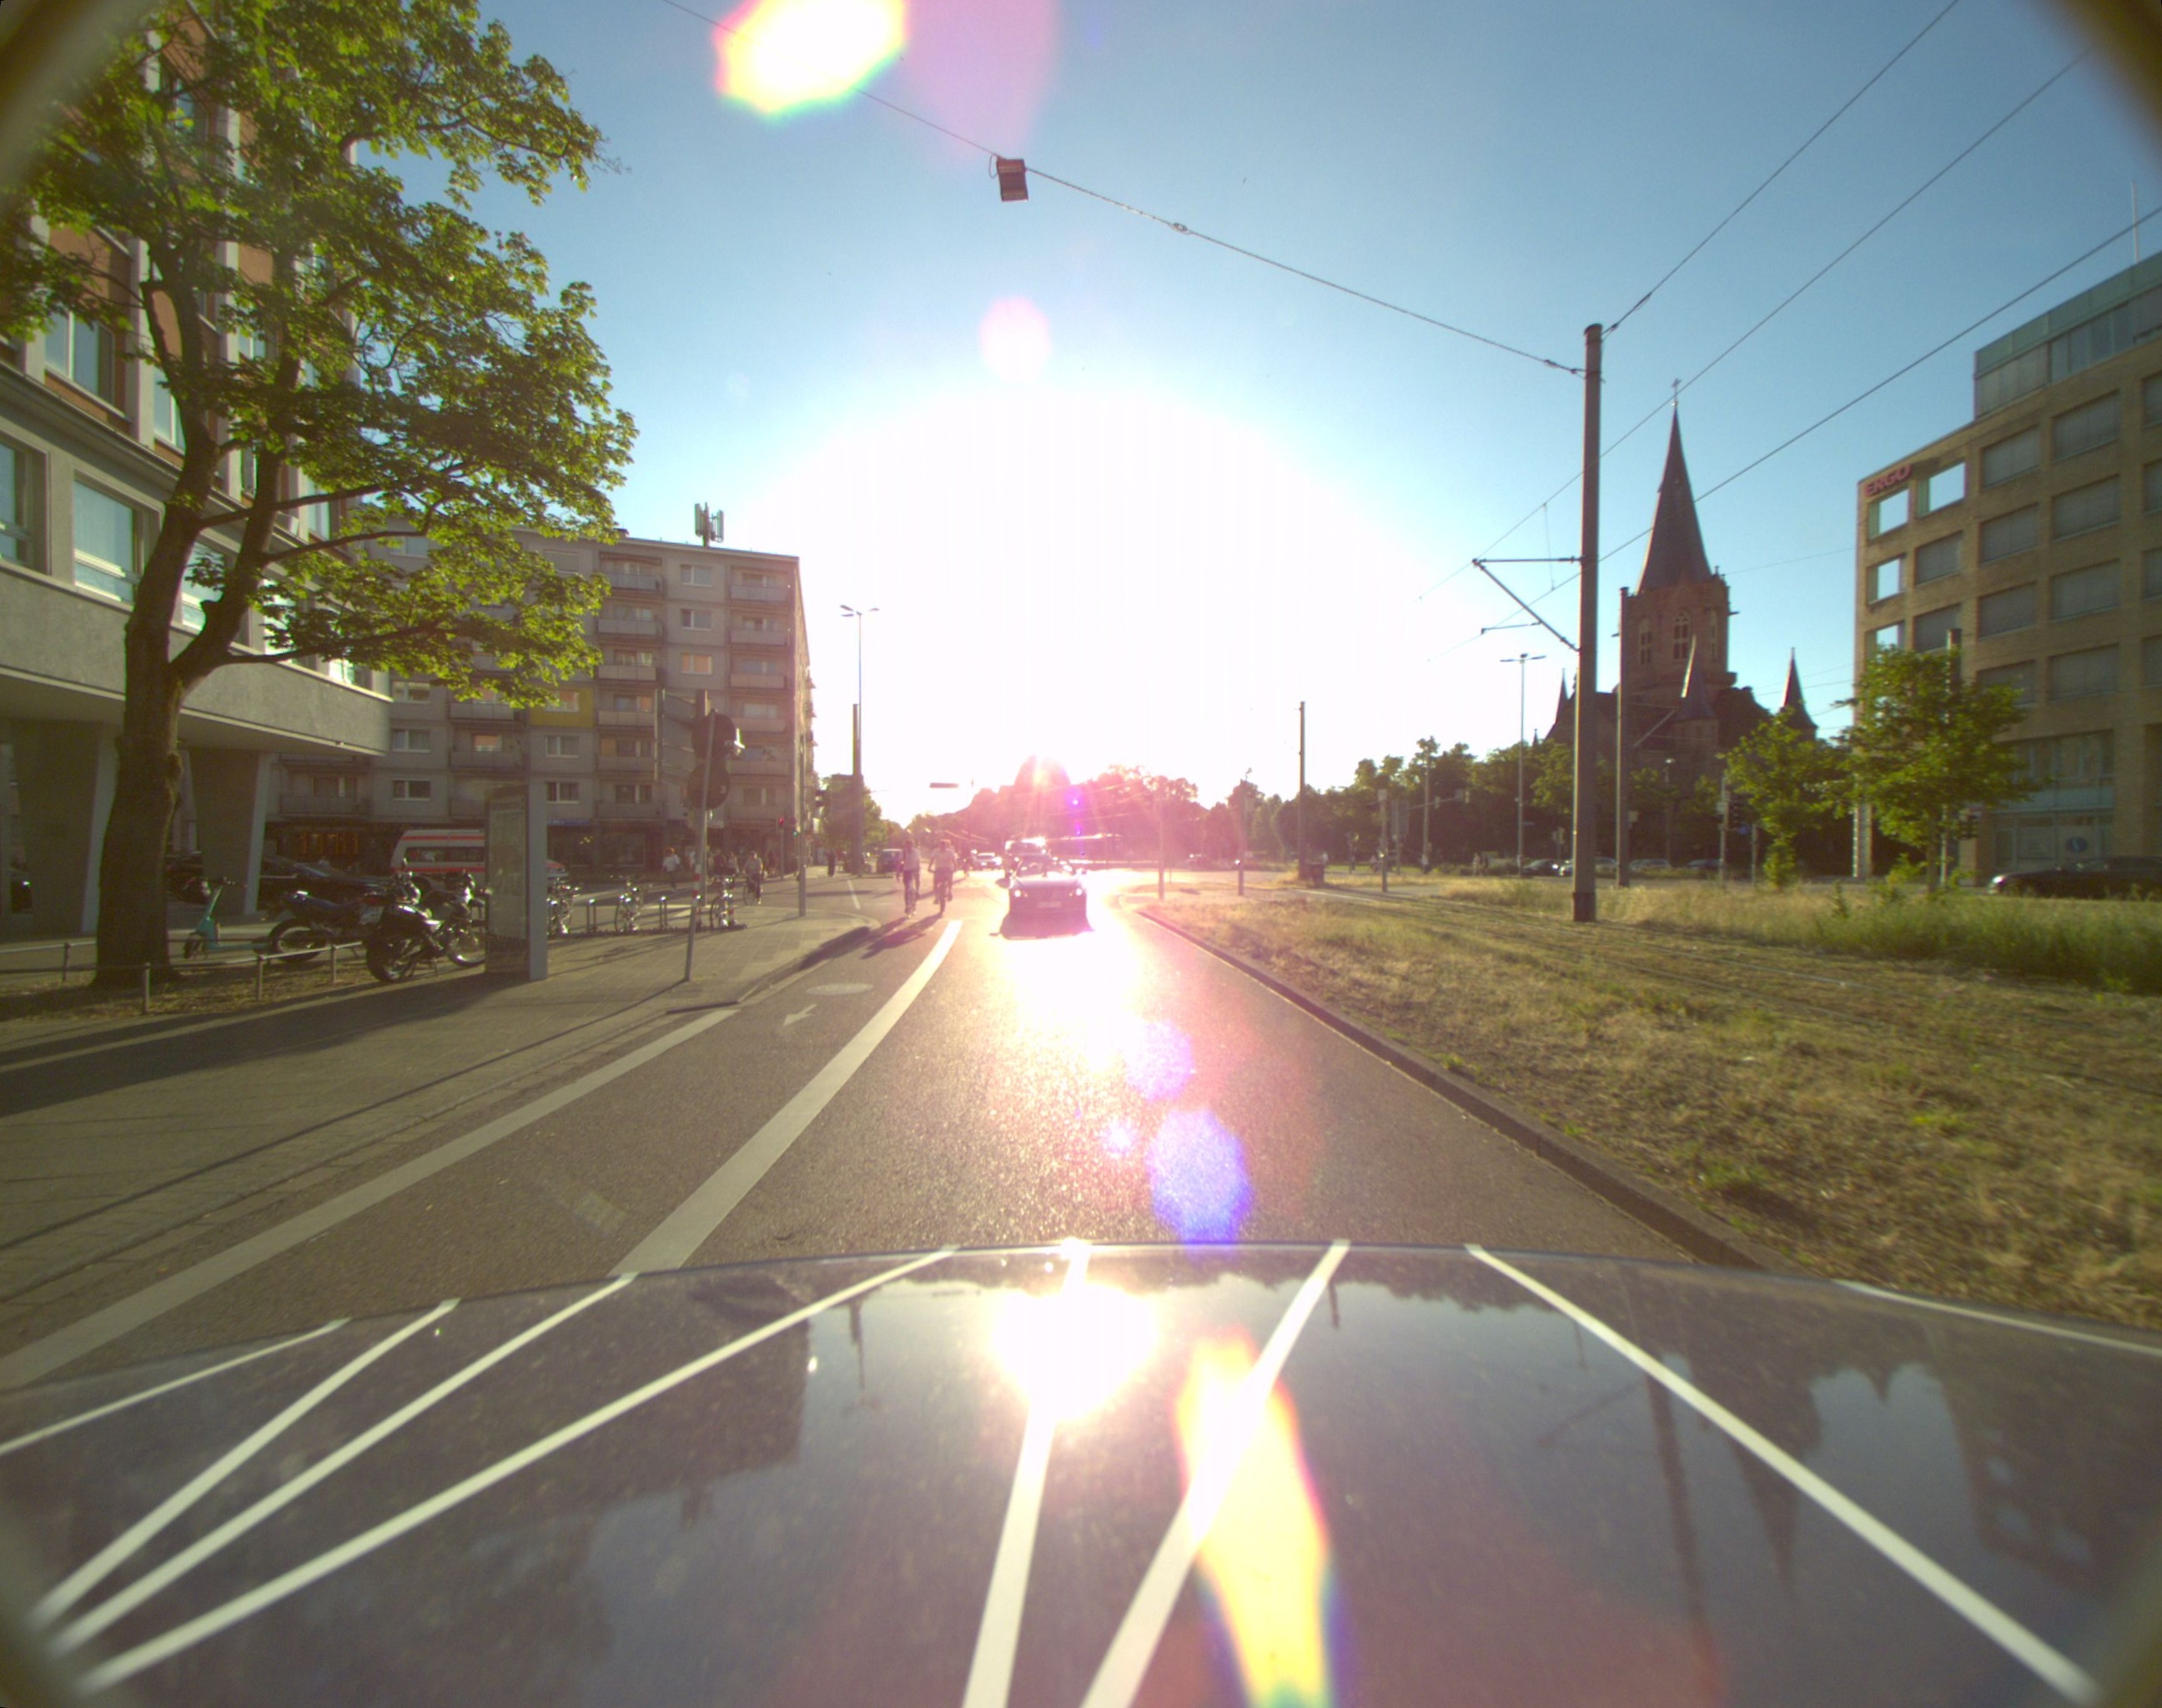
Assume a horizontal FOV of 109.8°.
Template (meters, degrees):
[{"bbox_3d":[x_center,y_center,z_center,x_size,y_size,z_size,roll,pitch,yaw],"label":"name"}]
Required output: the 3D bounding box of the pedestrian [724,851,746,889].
[{"bbox_3d":[-13.787,0.626,30.271,0.684,1.491,0.745,-1,1,-17],"label":"pedestrian"}]

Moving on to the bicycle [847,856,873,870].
[{"bbox_3d":[-16.658,0.674,57.296,1.875,1.055,0.606,0,1,-21],"label":"bicycle"}]

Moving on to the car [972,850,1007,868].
[{"bbox_3d":[-7.974,0.394,65.922,1.845,1.393,4.575,-3,1,-21],"label":"car"}]

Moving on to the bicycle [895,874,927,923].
[{"bbox_3d":[-4.074,1.043,18.293,0.577,1.022,1.855,-2,1,-9],"label":"bicycle"}]

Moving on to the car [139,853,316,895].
[{"bbox_3d":[-31.556,0.714,28.237,4.003,1.455,1.785,0,1,-17],"label":"car"}]

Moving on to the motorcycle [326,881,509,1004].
[{"bbox_3d":[-7.994,0.991,9.310,0.668,1.235,2.198,-1,0,-12],"label":"motorcycle"}]

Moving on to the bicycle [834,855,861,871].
[{"bbox_3d":[-17.941,0.709,58.342,1.876,1.119,0.606,2,0,-22],"label":"bicycle"}]

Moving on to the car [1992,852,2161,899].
[{"bbox_3d":[30.519,0.600,22.751,1.732,1.275,3.782,-1,1,-18],"label":"car"}]

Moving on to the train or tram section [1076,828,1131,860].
[{"bbox_3d":[2.480,-1.136,87.925,2.784,3.515,10.552,-1,1,-19],"label":"train or tram section"}]

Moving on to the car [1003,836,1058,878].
[{"bbox_3d":[-2.610,0.123,37.983,1.922,1.978,4.940,-1,1,-13],"label":"car"}]

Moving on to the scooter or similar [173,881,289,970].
[{"bbox_3d":[-13.014,1.060,11.673,0.416,1.247,1.183,0,1,1],"label":"scooter or similar"}]

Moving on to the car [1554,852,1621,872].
[{"bbox_3d":[36.993,0.595,55.499,4.002,1.412,1.900,0,1,-15],"label":"car"}]

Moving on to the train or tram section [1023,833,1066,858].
[{"bbox_3d":[-5.529,-1.195,111.260,2.784,3.515,13.229,-1,1,-19],"label":"train or tram section"}]

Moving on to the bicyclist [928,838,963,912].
[{"bbox_3d":[-3.380,0.496,19.019,0.829,1.797,1.056,-1,1,-8],"label":"bicyclist"}]

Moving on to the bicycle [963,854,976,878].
[{"bbox_3d":[-5.628,0.574,38.216,0.530,1.152,1.847,-2,1,-11],"label":"bicycle"}]

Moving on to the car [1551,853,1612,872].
[{"bbox_3d":[38.942,0.613,59.151,4.003,1.412,1.899,0,1,-18],"label":"car"}]

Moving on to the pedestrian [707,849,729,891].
[{"bbox_3d":[-14.639,0.643,30.665,0.684,1.652,0.745,-1,1,-17],"label":"pedestrian"}]

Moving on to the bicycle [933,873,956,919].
[{"bbox_3d":[-3.411,1.018,19.114,0.480,1.022,1.979,-2,1,-9],"label":"bicycle"}]

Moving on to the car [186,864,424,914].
[{"bbox_3d":[-23.161,1.005,22.908,4.680,1.333,1.837,-1,0,-17],"label":"car"}]

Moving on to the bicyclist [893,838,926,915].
[{"bbox_3d":[-4.085,0.523,18.193,0.676,1.797,0.993,-1,1,-8],"label":"bicyclist"}]

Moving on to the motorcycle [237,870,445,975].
[{"bbox_3d":[-10.585,0.954,10.951,2.051,1.398,0.760,-1,1,-10],"label":"motorcycle"}]

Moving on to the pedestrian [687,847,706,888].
[{"bbox_3d":[-16.280,0.565,32.205,0.571,1.691,0.811,-1,1,-17],"label":"pedestrian"}]

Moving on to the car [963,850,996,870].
[{"bbox_3d":[-9.683,0.519,72.279,1.959,1.702,4.842,-3,1,-20],"label":"car"}]

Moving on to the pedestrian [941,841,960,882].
[{"bbox_3d":[-5.272,0.296,30.717,0.640,1.639,0.842,-2,1,-7],"label":"pedestrian"}]

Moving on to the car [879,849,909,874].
[{"bbox_3d":[-14.956,0.558,60.561,1.944,1.922,4.824,0,0,-18],"label":"car"}]

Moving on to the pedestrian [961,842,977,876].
[{"bbox_3d":[-5.644,0.249,38.233,0.679,1.639,0.900,-2,1,-11],"label":"pedestrian"}]

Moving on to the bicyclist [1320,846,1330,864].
[{"bbox_3d":[24.633,0.069,76.711,0.575,1.817,0.893,-2,1,-19],"label":"bicyclist"}]

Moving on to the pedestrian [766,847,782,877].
[{"bbox_3d":[-16.217,0.408,40.125,0.684,1.580,0.745,0,1,-14],"label":"pedestrian"}]

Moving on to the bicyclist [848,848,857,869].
[{"bbox_3d":[-20.005,0.353,66.467,0.745,1.797,1.384,-1,1,-16],"label":"bicyclist"}]

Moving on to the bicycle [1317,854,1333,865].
[{"bbox_3d":[24.643,0.538,76.810,0.526,1.020,1.927,-2,1,-19],"label":"bicycle"}]

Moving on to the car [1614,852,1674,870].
[{"bbox_3d":[45.076,0.552,60.804,4.003,1.412,1.899,0,1,-18],"label":"car"}]

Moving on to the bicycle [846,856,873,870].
[{"bbox_3d":[-16.878,0.672,57.862,1.875,1.055,0.606,0,1,-21],"label":"bicycle"}]

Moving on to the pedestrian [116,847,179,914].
[{"bbox_3d":[-24.660,0.687,20.085,0.820,1.746,0.639,0,1,-16],"label":"pedestrian"}]

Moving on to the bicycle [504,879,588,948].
[{"bbox_3d":[-10.032,1.070,14.328,0.647,1.151,2.121,0,0,-17],"label":"bicycle"}]

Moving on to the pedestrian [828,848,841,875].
[{"bbox_3d":[-15.572,0.484,47.962,0.664,1.694,1.070,0,1,-13],"label":"pedestrian"}]

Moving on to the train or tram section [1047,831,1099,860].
[{"bbox_3d":[-1.230,-1.094,98.742,2.784,3.515,13.229,-1,1,-19],"label":"train or tram section"}]

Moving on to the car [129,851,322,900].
[{"bbox_3d":[-29.041,0.704,25.950,4.089,1.562,1.594,0,0,-19],"label":"car"}]

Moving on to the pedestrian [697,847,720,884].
[{"bbox_3d":[-17.379,0.507,35.484,0.786,1.691,1.025,-1,1,-17],"label":"pedestrian"}]

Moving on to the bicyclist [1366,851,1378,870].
[{"bbox_3d":[26.207,0.609,68.379,0.575,1.671,0.893,-2,1,-19],"label":"bicyclist"}]

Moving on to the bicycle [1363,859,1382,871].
[{"bbox_3d":[26.248,0.987,68.363,0.460,1.020,1.927,-2,1,-18],"label":"bicycle"}]

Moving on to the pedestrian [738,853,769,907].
[{"bbox_3d":[-9.886,0.773,22.949,0.677,1.581,0.760,0,3,-11],"label":"pedestrian"}]

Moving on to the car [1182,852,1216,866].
[{"bbox_3d":[12.496,0.514,80.747,1.732,1.406,3.878,0,0,-23],"label":"car"}]

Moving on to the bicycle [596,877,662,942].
[{"bbox_3d":[-8.727,1.034,14.737,0.647,1.120,1.871,0,0,-17],"label":"bicycle"}]

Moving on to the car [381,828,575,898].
[{"bbox_3d":[-22.273,0.280,28.349,5.271,2.468,1.922,-1,1,-18],"label":"car"}]

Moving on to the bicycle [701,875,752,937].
[{"bbox_3d":[-7.083,1.010,15.265,0.647,1.120,1.871,0,0,-17],"label":"bicycle"}]

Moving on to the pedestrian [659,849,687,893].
[{"bbox_3d":[-15.358,0.628,28.607,0.730,1.652,0.904,-1,1,-17],"label":"pedestrian"}]

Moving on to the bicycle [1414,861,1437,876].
[{"bbox_3d":[27.873,1.141,61.504,0.460,1.139,1.916,-2,1,-19],"label":"bicycle"}]

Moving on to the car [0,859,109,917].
[{"bbox_3d":[-29.689,0.919,20.582,3.777,1.501,1.753,0,0,-17],"label":"car"}]

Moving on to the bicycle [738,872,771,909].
[{"bbox_3d":[-9.892,1.101,23.074,0.522,0.975,1.847,0,2,-11],"label":"bicycle"}]

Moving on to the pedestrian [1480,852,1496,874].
[{"bbox_3d":[31.219,0.692,58.285,0.738,1.663,0.716,0,1,-16],"label":"pedestrian"}]

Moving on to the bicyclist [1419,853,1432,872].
[{"bbox_3d":[27.879,0.681,61.453,0.522,1.574,0.819,-2,1,-19],"label":"bicyclist"}]

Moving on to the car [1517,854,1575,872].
[{"bbox_3d":[37.950,0.733,62.045,4.003,1.412,1.899,0,1,-18],"label":"car"}]

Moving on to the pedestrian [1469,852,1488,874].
[{"bbox_3d":[30.403,0.714,58.161,0.738,1.663,1.104,0,1,-16],"label":"pedestrian"}]

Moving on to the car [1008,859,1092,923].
[{"bbox_3d":[-0.861,0.807,18.570,1.777,1.300,4.238,-1,0,-6],"label":"car"}]

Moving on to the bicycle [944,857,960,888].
[{"bbox_3d":[-5.201,0.722,30.643,0.530,1.152,1.847,-2,1,-7],"label":"bicycle"}]
